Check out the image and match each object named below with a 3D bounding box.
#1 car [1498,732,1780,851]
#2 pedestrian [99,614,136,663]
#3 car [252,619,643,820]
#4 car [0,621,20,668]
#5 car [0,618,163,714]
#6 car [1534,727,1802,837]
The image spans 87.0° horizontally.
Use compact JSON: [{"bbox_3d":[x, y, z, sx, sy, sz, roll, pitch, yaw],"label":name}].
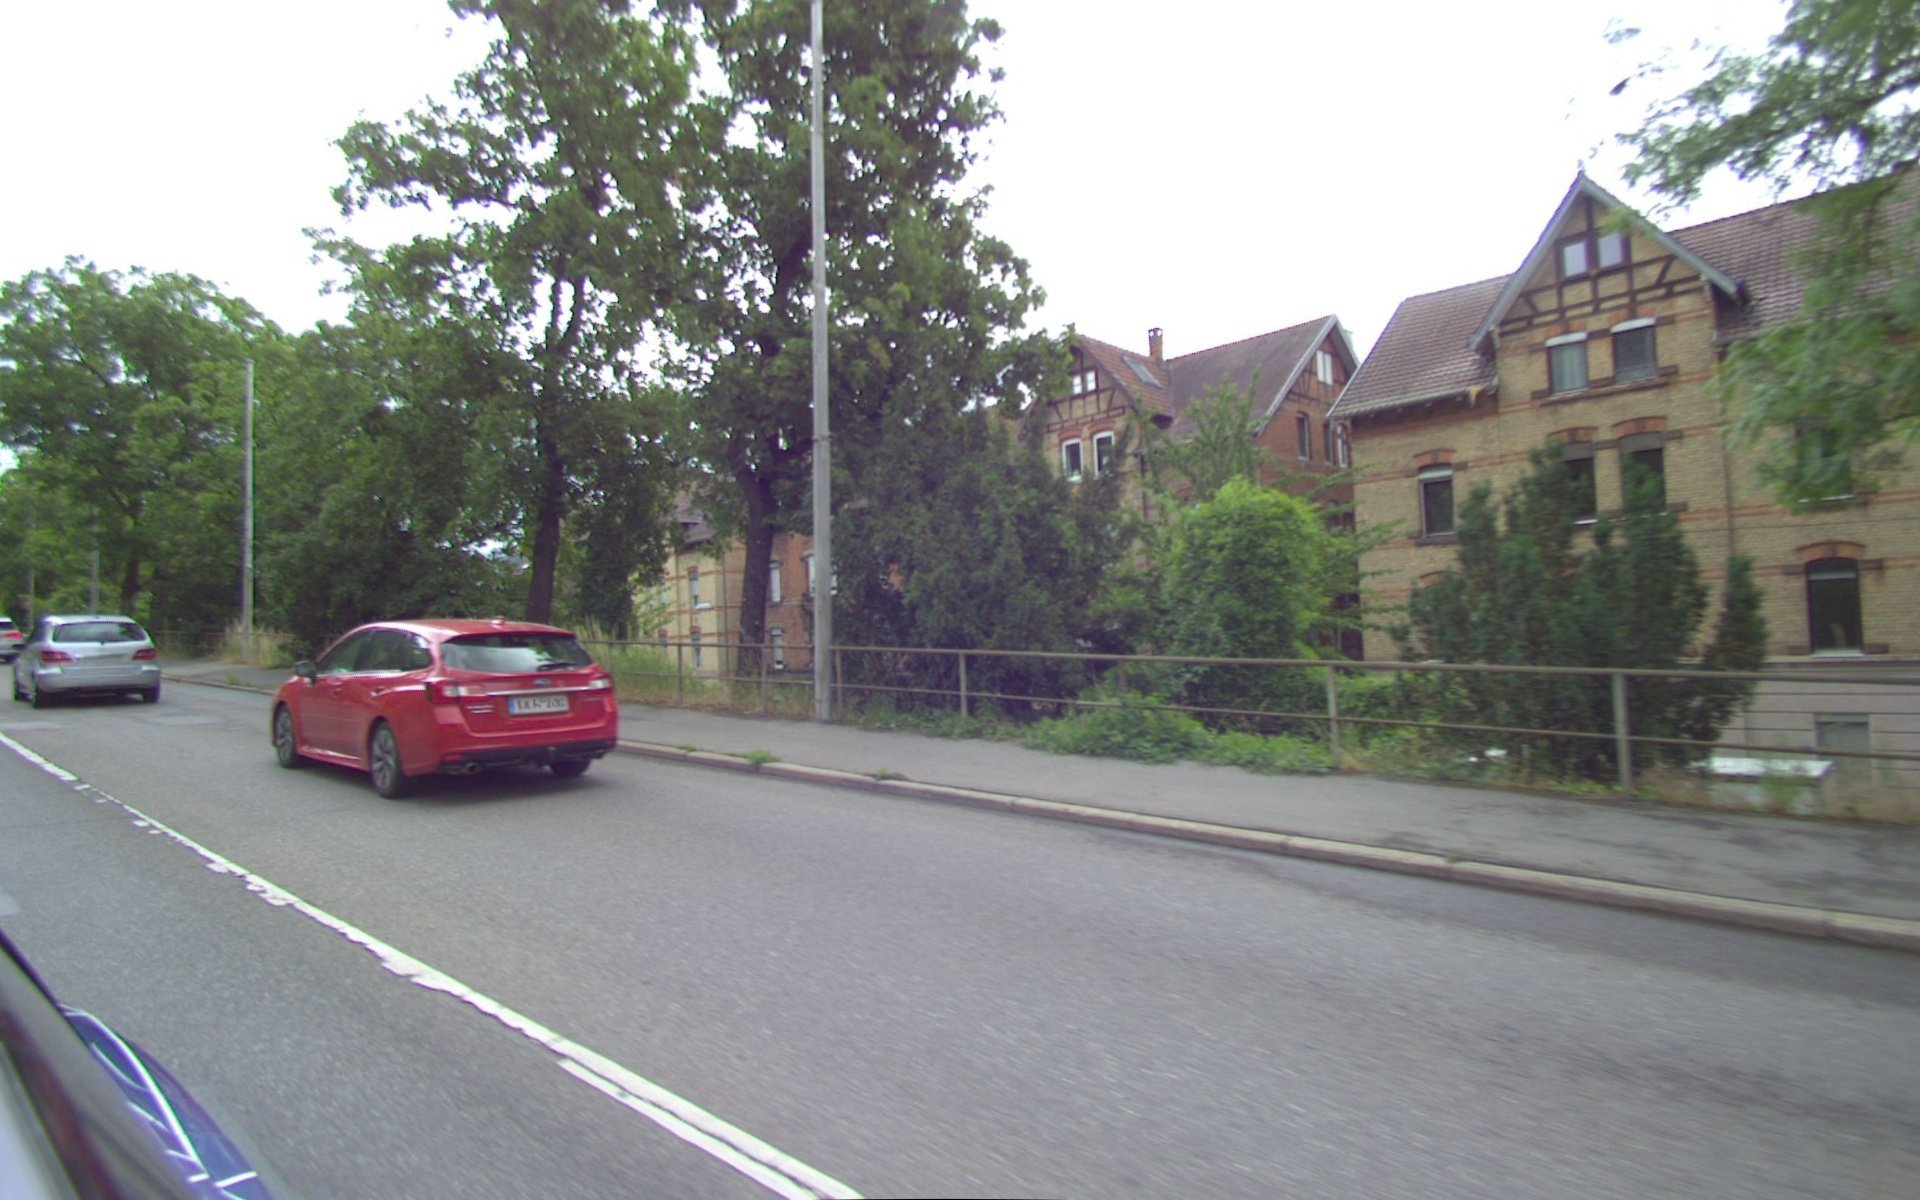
[{"bbox_3d":[12.439,3.421,18.734,1.772,1.522,4.005,0,-2,-42],"label":"car"},{"bbox_3d":[-32.231,1.456,38.701,1.208,1.787,0.781,-2,2,39],"label":"pedestrian"},{"bbox_3d":[-4.987,0.927,9.555,4.426,1.470,1.765,-1,-2,41],"label":"car"},{"bbox_3d":[-37.214,1.680,38.314,4.662,1.696,1.974,-2,-2,42],"label":"car"},{"bbox_3d":[-16.529,1.146,18.954,4.278,1.586,1.765,-1,-2,41],"label":"car"},{"bbox_3d":[13.822,3.471,19.930,1.772,1.522,4.005,0,-2,-42],"label":"car"}]
